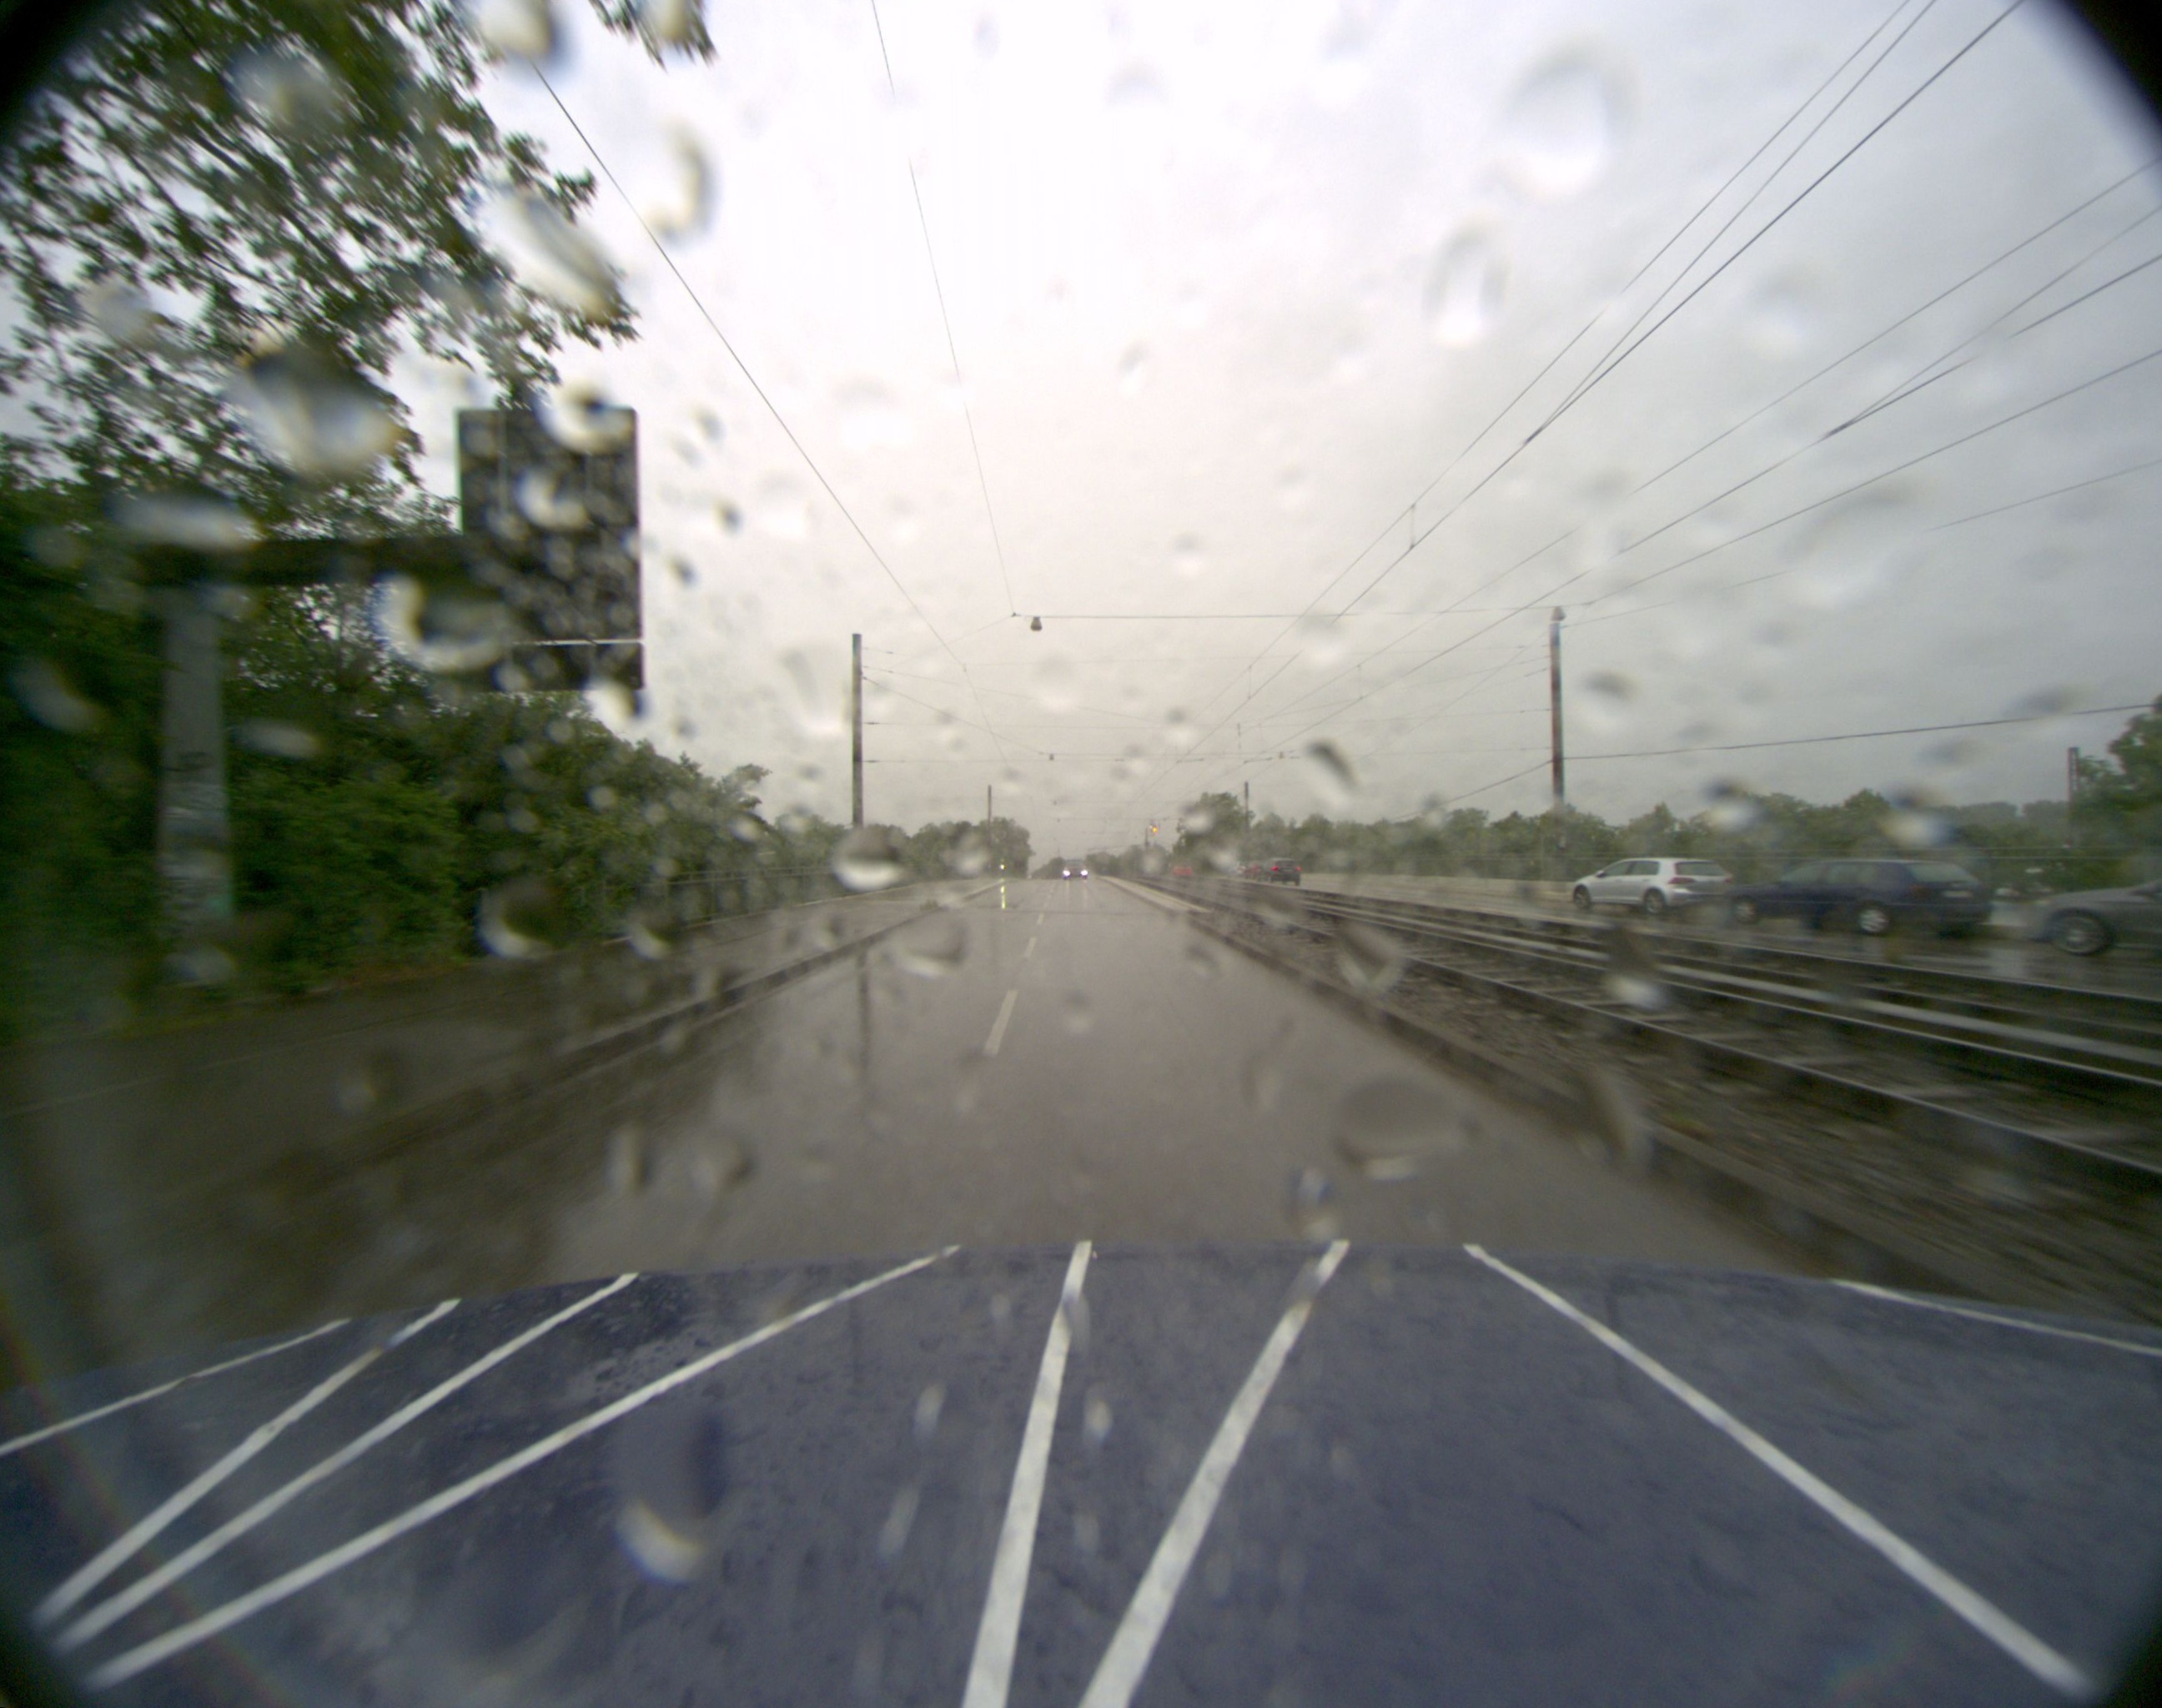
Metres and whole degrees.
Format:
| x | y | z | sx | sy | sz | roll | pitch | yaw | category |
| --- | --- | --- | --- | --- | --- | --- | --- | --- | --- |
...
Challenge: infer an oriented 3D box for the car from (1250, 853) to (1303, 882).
| x | y | z | sx | sy | sz | roll | pitch | yaw | category |
| --- | --- | --- | --- | --- | --- | --- | --- | --- | --- |
| 11.109 | 0.822 | 43.436 | 1.821 | 1.359 | 4.267 | -2 | -4 | -1 | car |

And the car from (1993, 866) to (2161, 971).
| x | y | z | sx | sy | sz | roll | pitch | yaw | category |
| --- | --- | --- | --- | --- | --- | --- | --- | --- | --- |
| 15.163 | 0.866 | 9.718 | 1.510 | 1.392 | 4.406 | 1 | -1 | -5 | car |

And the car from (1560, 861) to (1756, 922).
| x | y | z | sx | sy | sz | roll | pitch | yaw | category |
| --- | --- | --- | --- | --- | --- | --- | --- | --- | --- |
| 15.144 | 0.941 | 20.306 | 1.868 | 1.447 | 4.319 | 1 | -1 | -2 | car |

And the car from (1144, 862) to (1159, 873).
| x | y | z | sx | sy | sz | roll | pitch | yaw | category |
| --- | --- | --- | --- | --- | --- | --- | --- | --- | --- |
| 10.127 | 1.978 | 109.461 | 1.804 | 1.473 | 4.084 | -2 | -1 | -1 | car |

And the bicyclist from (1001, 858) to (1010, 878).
| x | y | z | sx | sy | sz | roll | pitch | yaw | category |
| --- | --- | --- | --- | --- | --- | --- | --- | --- | --- |
| -6.900 | 1.258 | 69.428 | 0.727 | 1.753 | 0.949 | -2 | -1 | -1 | bicyclist |

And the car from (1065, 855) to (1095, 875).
| x | y | z | sx | sy | sz | roll | pitch | yaw | category |
| --- | --- | --- | --- | --- | --- | --- | --- | --- | --- |
| -0.141 | 0.928 | 62.436 | 1.999 | 1.497 | 4.196 | -2 | -2 | -6 | car |

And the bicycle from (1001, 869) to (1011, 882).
| x | y | z | sx | sy | sz | roll | pitch | yaw | category |
| --- | --- | --- | --- | --- | --- | --- | --- | --- | --- |
| -6.874 | 1.944 | 69.479 | 0.725 | 1.122 | 2.168 | -2 | -2 | -1 | bicycle |

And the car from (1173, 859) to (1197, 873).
| x | y | z | sx | sy | sz | roll | pitch | yaw | category |
| --- | --- | --- | --- | --- | --- | --- | --- | --- | --- |
| 10.546 | 1.272 | 77.137 | 1.804 | 1.308 | 4.084 | -2 | -1 | -1 | car |

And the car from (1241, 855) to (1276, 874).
| x | y | z | sx | sy | sz | roll | pitch | yaw | category |
| --- | --- | --- | --- | --- | --- | --- | --- | --- | --- |
| 14.203 | 0.874 | 61.013 | 1.625 | 1.447 | 4.322 | 1 | -1 | -2 | car |

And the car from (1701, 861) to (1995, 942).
| x | y | z | sx | sy | sz | roll | pitch | yaw | category |
| --- | --- | --- | --- | --- | --- | --- | --- | --- | --- |
| 15.107 | 0.874 | 15.365 | 1.510 | 1.392 | 4.281 | 1 | -1 | -2 | car |

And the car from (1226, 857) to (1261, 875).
| x | y | z | sx | sy | sz | roll | pitch | yaw | category |
| --- | --- | --- | --- | --- | --- | --- | --- | --- | --- |
| 14.253 | 1.061 | 66.872 | 1.999 | 1.447 | 4.620 | 1 | -1 | -2 | car |
